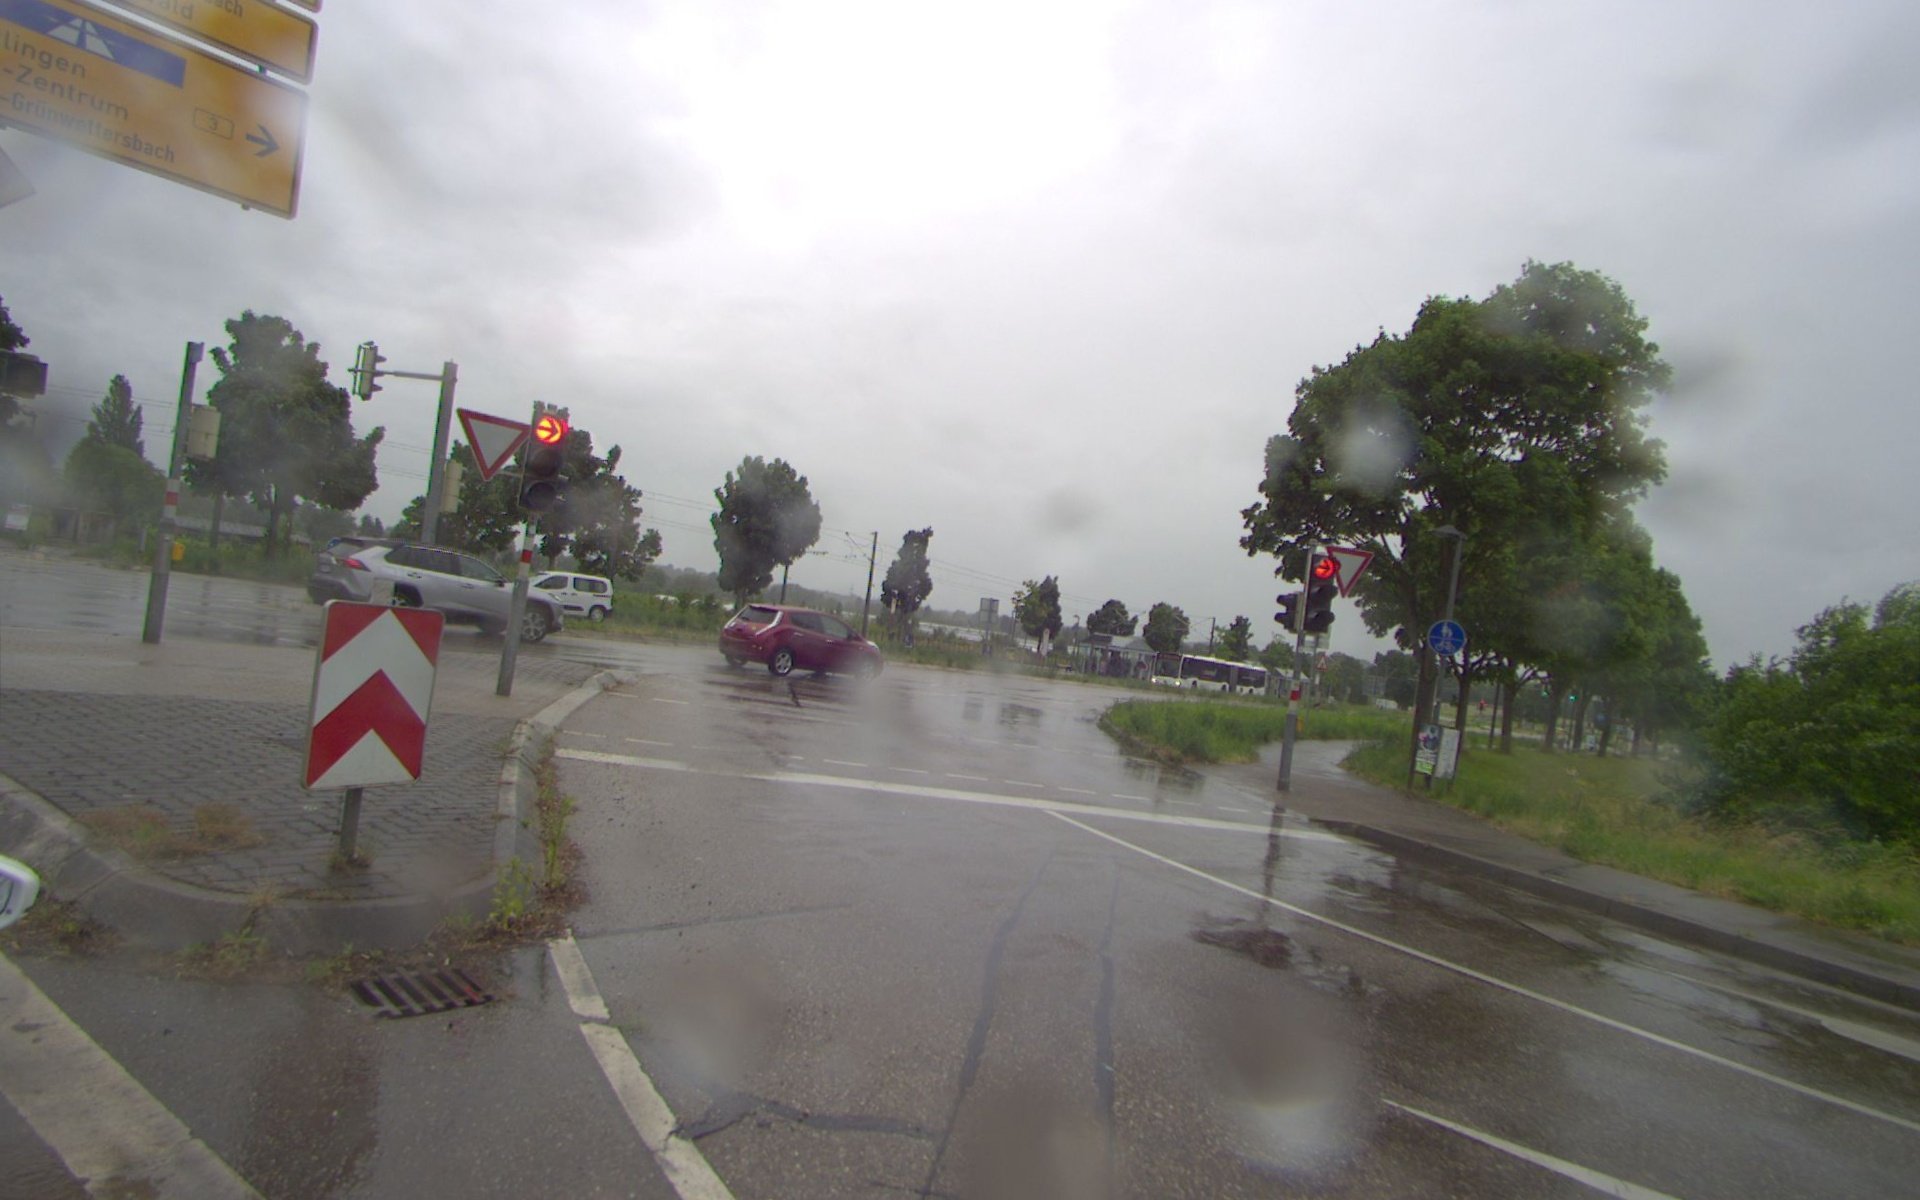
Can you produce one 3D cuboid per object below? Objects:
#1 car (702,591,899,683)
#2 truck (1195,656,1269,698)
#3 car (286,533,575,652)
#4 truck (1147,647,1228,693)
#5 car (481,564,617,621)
[{"bbox_3d":[-3.610,0.909,23.487,1.707,1.598,4.374,7,-2,39],"label":"car"},{"bbox_3d":[24.198,6.848,89.062,2.616,2.804,9.324,7,-2,39],"label":"truck"},{"bbox_3d":[-10.202,-0.076,19.724,1.883,1.597,4.530,7,-2,37],"label":"car"},{"bbox_3d":[18.645,5.766,81.922,2.616,2.864,8.821,7,-2,38],"label":"truck"},{"bbox_3d":[-15.631,-0.249,38.412,1.798,1.572,4.326,7,-1,44],"label":"car"}]
